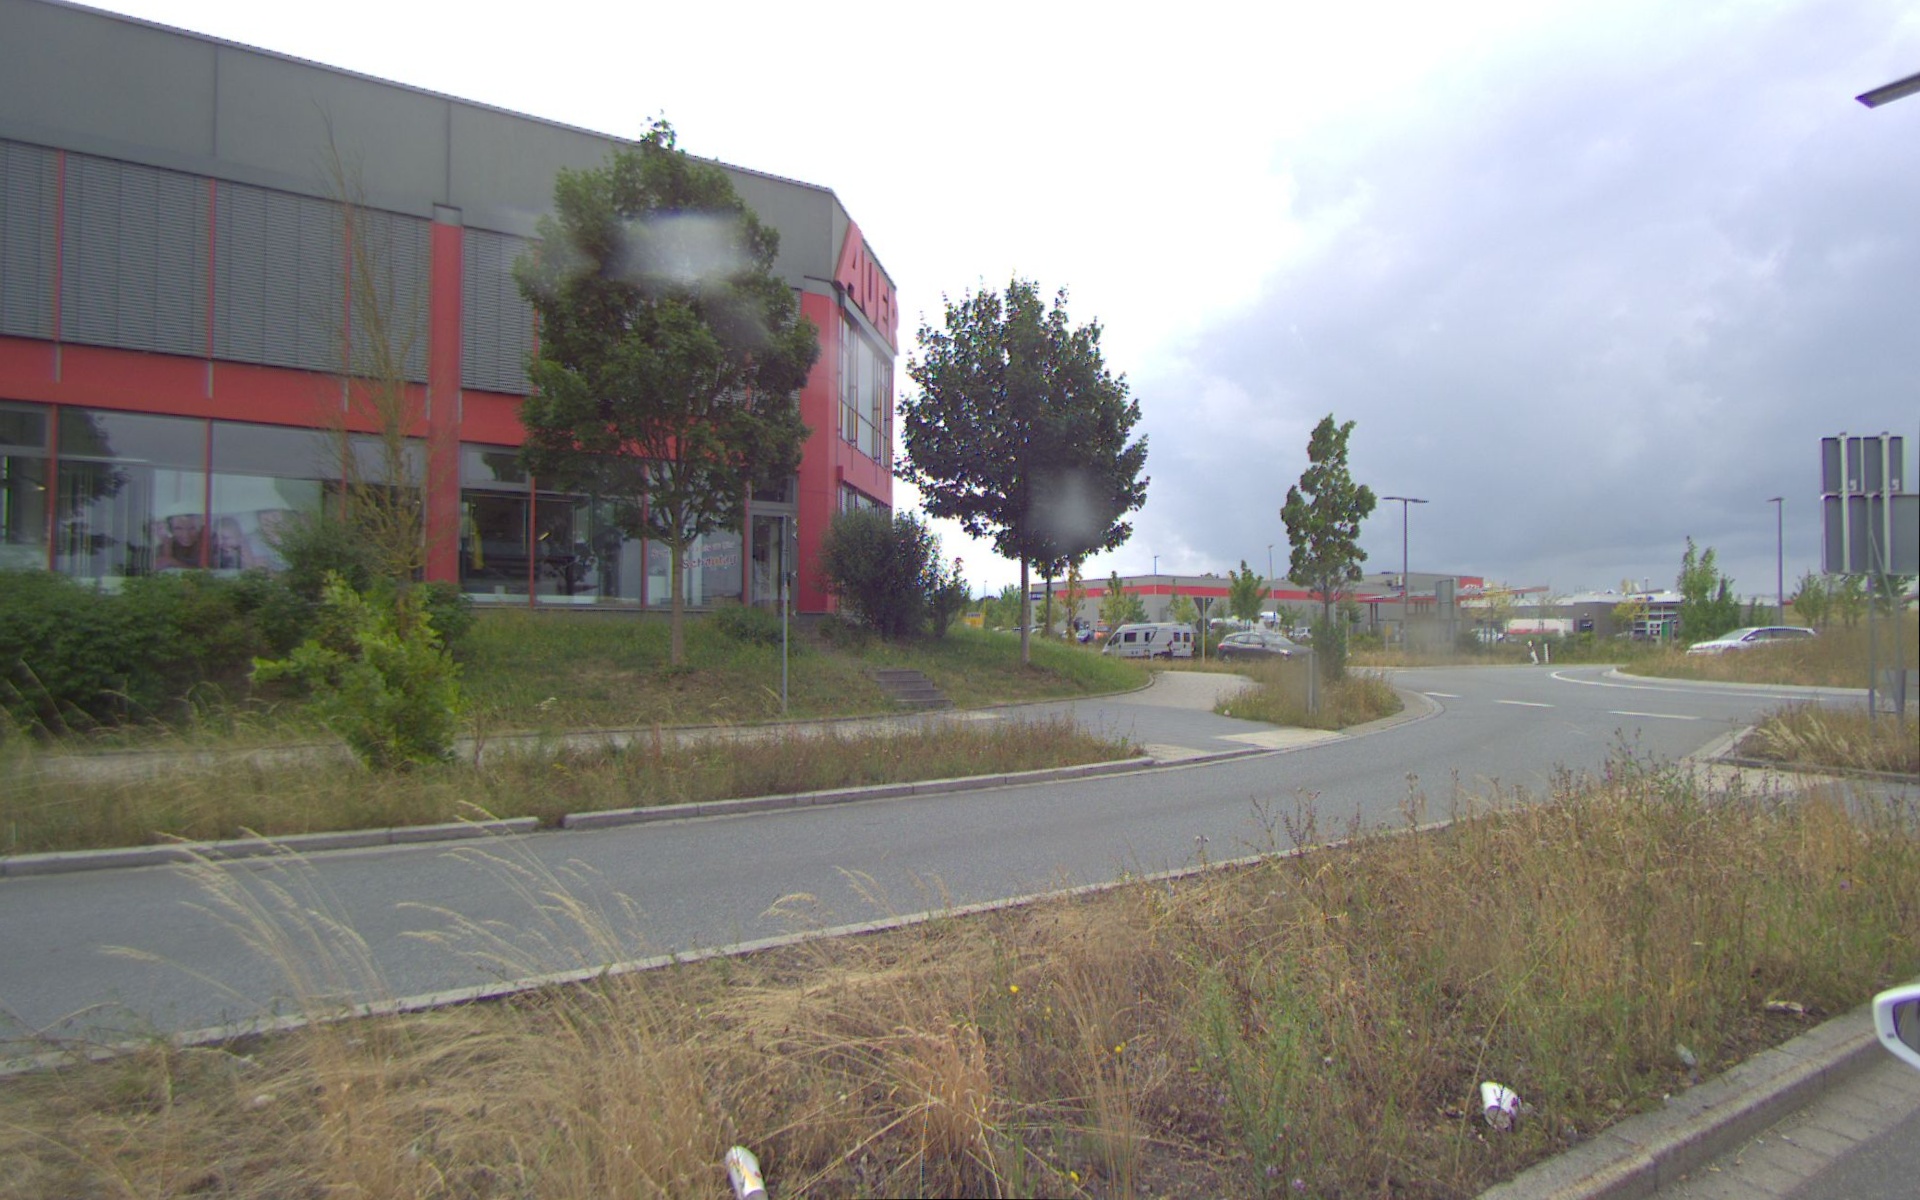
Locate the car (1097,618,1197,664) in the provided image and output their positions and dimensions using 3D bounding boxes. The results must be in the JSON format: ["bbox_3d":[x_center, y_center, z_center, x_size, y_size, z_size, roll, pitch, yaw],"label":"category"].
[{"bbox_3d":[10.878,2.363,58.805,2.261,2.418,5.649,3,-1,-38],"label":"car"}]

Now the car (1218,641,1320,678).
[{"bbox_3d":[12.282,2.356,40.044,1.662,1.267,3.555,3,-1,-39],"label":"car"}]

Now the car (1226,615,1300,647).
[{"bbox_3d":[29.327,2.993,97.008,7.608,2.857,2.448,3,-1,-33],"label":"car"}]

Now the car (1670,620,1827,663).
[{"bbox_3d":[30.274,1.570,38.653,4.550,1.427,1.728,2,-1,3],"label":"car"}]
